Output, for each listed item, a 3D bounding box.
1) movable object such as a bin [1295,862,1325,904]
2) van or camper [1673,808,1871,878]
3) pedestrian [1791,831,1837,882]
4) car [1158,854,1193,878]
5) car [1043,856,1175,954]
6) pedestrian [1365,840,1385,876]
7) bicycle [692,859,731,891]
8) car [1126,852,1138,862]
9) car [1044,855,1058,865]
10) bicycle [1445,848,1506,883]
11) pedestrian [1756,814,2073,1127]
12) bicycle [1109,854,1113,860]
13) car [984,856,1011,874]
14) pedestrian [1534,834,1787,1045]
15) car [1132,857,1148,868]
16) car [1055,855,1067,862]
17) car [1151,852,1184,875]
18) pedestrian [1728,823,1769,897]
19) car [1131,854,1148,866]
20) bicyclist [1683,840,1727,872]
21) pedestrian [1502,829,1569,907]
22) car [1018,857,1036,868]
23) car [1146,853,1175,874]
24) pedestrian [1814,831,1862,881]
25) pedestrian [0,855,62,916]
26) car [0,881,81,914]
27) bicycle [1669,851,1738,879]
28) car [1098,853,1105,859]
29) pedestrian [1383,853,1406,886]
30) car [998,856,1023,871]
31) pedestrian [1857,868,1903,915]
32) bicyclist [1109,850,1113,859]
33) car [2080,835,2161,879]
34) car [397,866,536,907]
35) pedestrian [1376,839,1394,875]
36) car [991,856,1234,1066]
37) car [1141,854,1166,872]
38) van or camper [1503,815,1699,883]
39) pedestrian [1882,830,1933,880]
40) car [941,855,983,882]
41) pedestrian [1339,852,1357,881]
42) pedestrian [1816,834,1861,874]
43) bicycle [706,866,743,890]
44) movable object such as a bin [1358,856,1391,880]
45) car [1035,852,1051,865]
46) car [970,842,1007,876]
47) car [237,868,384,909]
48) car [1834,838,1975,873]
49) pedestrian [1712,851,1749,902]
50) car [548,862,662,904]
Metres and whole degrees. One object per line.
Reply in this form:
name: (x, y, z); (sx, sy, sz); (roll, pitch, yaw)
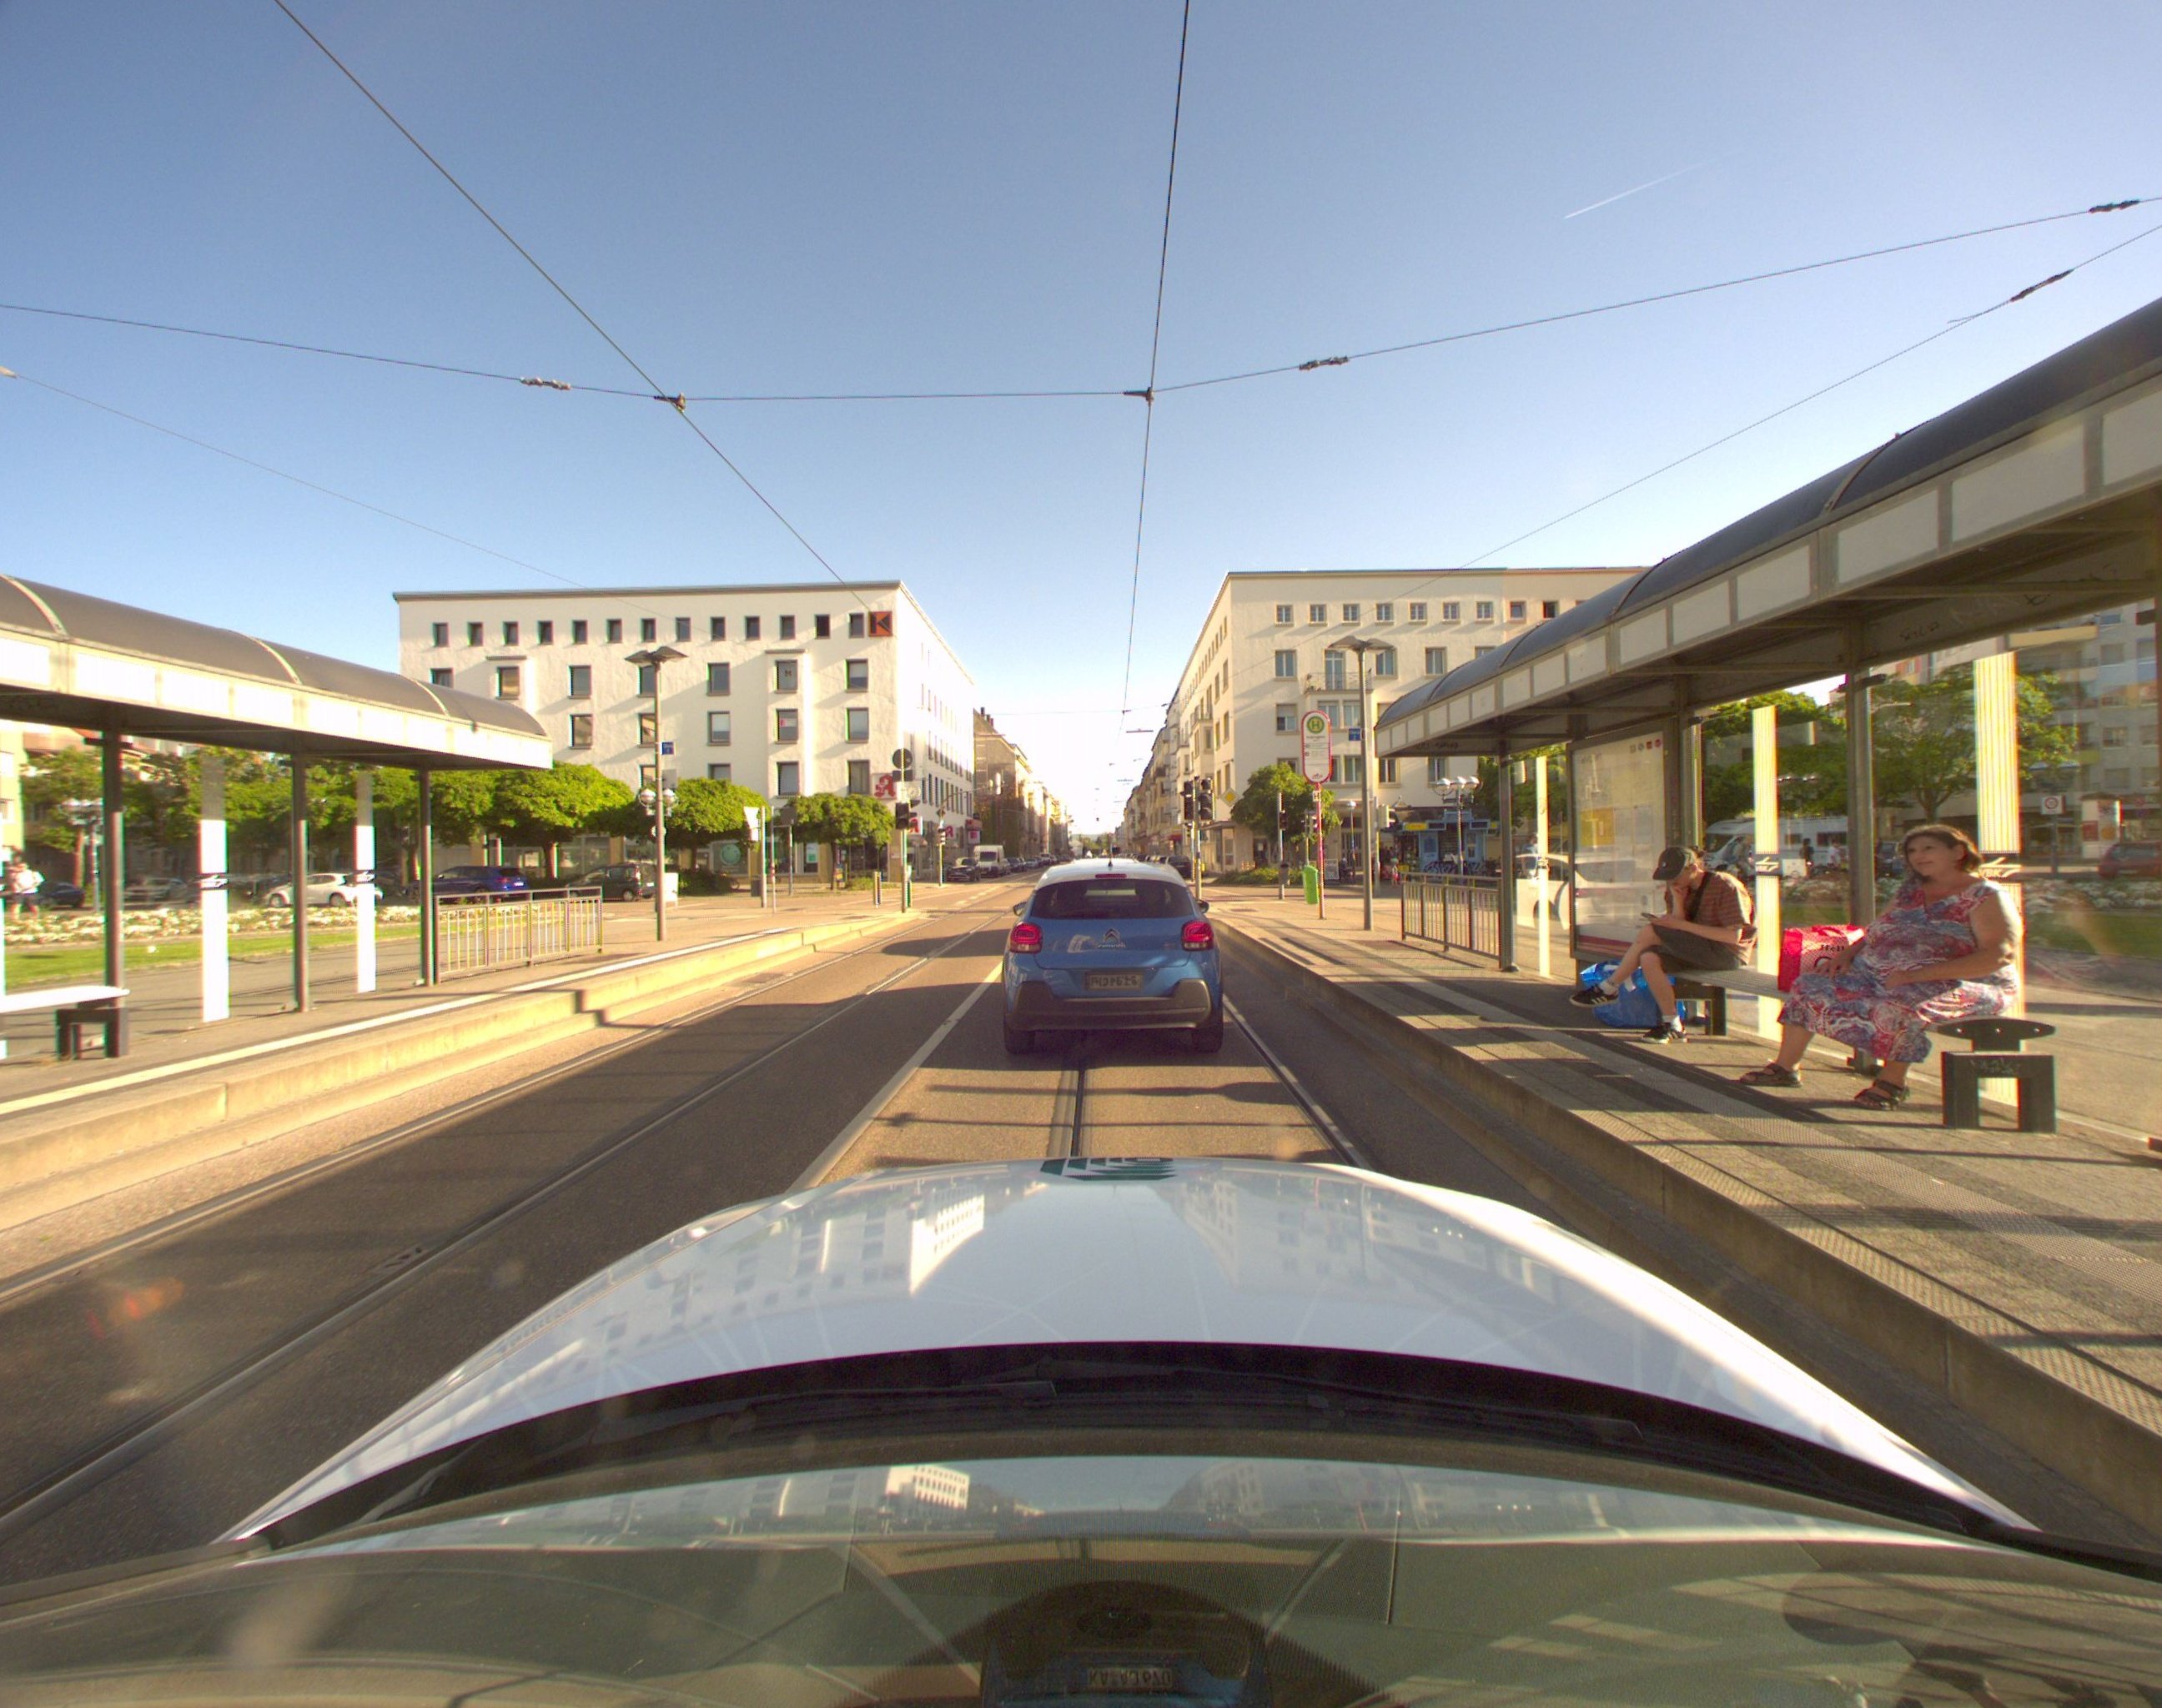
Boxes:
movable object such as a bin: (4.351, 0.547, 15.509); (0.447, 0.786, 0.489); (-1, 0, 4)
van or camper: (30.122, -0.465, 35.703); (6.375, 2.839, 2.381); (-1, 0, 5)
pedestrian: (24.963, 0.089, 27.730); (0.897, 1.685, 0.696); (-1, 0, 5)
car: (6.048, 0.745, 52.417); (1.902, 1.464, 4.002); (-1, 0, 2)
car: (0.490, 0.783, 14.705); (1.977, 1.464, 4.817); (0, 0, 2)
pedestrian: (15.252, 0.215, 42.240); (0.781, 1.839, 0.679); (-1, 0, 5)
bicycle: (-19.831, 1.112, 43.741); (0.614, 1.607, 2.625); (-1, 0, 6)
car: (8.322, 0.462, 133.197); (1.986, 1.464, 4.002); (-1, 0, 2)
car: (-5.072, 1.025, 137.515); (1.946, 1.552, 3.942); (0, -1, 4)
bicycle: (17.719, 0.522, 36.572); (2.376, 1.531, 0.726); (1, 0, 0)
pedestrian: (3.900, 0.508, 3.869); (0.855, 1.334, 0.623); (2, -1, 1)
bicycle: (6.598, 0.694, 178.850); (0.916, 1.389, 3.133); (-1, 0, 2)
car: (-7.110, 0.933, 69.828); (1.881, 1.496, 3.562); (0, -1, 1)
pedestrian: (3.722, 0.514, 5.328); (0.995, 1.225, 0.923); (2, -1, 1)
car: (7.656, 1.097, 106.368); (1.986, 1.464, 4.002); (-1, 0, 2)
car: (-3.812, 0.836, 154.297); (1.986, 1.156, 4.002); (-1, 0, 2)
car: (6.071, 0.651, 57.478); (1.986, 1.464, 4.002); (-1, 0, 2)
pedestrian: (15.791, 0.143, 19.264); (0.554, 1.745, 0.528); (0, -1, 12)
car: (7.264, 0.759, 102.001); (1.986, 1.464, 4.507); (-1, 0, 2)
bicyclist: (23.766, 0.074, 31.023); (0.931, 1.225, 0.950); (1, 0, -11)
pedestrian: (11.252, 0.350, 20.212); (0.978, 1.878, 1.128); (-1, -1, -1)
car: (-6.860, 1.084, 103.426); (1.987, 1.325, 3.923); (0, -1, 1)
car: (6.098, 0.695, 62.908); (1.986, 1.501, 4.002); (-1, 0, 2)
pedestrian: (24.488, 0.067, 26.344); (0.897, 1.585, 0.663); (-1, 0, 5)
pedestrian: (-32.137, 0.962, 24.901); (0.938, 1.817, 0.872); (-1, 0, 13)
car: (-52.841, 2.158, 40.767); (1.925, 1.494, 4.314); (0, -1, -27)
bicycle: (23.728, 0.419, 31.043); (2.316, 1.061, 0.718); (0, 0, -11)
car: (5.716, 0.559, 226.782); (1.986, 1.772, 4.002); (-1, 0, 2)
pedestrian: (14.008, 0.680, 36.403); (0.727, 1.409, 0.755); (-1, 3, 2)
car: (-6.757, 0.904, 78.477); (1.987, 1.398, 4.157); (0, -1, 1)
pedestrian: (27.637, 1.278, 28.164); (0.897, 1.585, 0.663); (-1, 0, 5)
bicyclist: (6.578, 0.122, 178.823); (0.807, 2.014, 0.922); (0, -1, 0)
car: (38.649, 0.064, 29.054); (3.983, 1.486, 1.995); (-1, 0, -7)
car: (-27.184, 1.414, 36.165); (4.591, 1.662, 1.999); (-1, 0, -1)
pedestrian: (15.389, 0.152, 41.251); (0.650, 1.839, 0.660); (-1, 0, 5)
car: (0.279, 0.762, 7.694); (1.721, 1.482, 3.828); (0, 0, 2)
car: (6.463, 0.800, 72.900); (1.986, 1.464, 4.002); (-1, 0, 2)
van or camper: (22.859, -0.224, 36.028); (7.093, 2.747, 2.372); (-1, 1, 2)
pedestrian: (26.600, 0.040, 26.217); (0.897, 1.585, 0.663); (-1, 0, 5)
car: (-7.655, 0.924, 52.750); (1.987, 1.569, 4.403); (2, -1, 1)
pedestrian: (12.738, 0.595, 38.887); (0.733, 1.316, 0.631); (-1, 0, 25)
pedestrian: (25.112, 0.006, 27.001); (0.897, 1.279, 0.605); (-1, 0, 5)
bicycle: (-19.108, 1.251, 43.699); (0.615, 1.190, 2.624); (-1, 0, 5)
movable object such as a bin: (14.406, 0.674, 40.045); (1.194, 1.153, 1.218); (-1, 0, 2)
car: (-5.883, 0.727, 127.069); (1.997, 2.014, 4.694); (0, -1, 4)
car: (-7.124, 0.377, 63.110); (2.078, 2.542, 6.206); (0, 0, 1)
car: (-33.515, 1.485, 35.518); (4.591, 1.606, 1.855); (-1, 0, -1)
car: (36.667, 0.069, 36.383); (3.959, 1.511, 2.007); (0, -1, 13)
pedestrian: (15.204, 0.520, 19.074); (0.466, 1.169, 0.559); (0, -1, 10)
car: (-21.244, 1.275, 36.424); (3.973, 1.706, 1.826); (-1, 0, 1)
